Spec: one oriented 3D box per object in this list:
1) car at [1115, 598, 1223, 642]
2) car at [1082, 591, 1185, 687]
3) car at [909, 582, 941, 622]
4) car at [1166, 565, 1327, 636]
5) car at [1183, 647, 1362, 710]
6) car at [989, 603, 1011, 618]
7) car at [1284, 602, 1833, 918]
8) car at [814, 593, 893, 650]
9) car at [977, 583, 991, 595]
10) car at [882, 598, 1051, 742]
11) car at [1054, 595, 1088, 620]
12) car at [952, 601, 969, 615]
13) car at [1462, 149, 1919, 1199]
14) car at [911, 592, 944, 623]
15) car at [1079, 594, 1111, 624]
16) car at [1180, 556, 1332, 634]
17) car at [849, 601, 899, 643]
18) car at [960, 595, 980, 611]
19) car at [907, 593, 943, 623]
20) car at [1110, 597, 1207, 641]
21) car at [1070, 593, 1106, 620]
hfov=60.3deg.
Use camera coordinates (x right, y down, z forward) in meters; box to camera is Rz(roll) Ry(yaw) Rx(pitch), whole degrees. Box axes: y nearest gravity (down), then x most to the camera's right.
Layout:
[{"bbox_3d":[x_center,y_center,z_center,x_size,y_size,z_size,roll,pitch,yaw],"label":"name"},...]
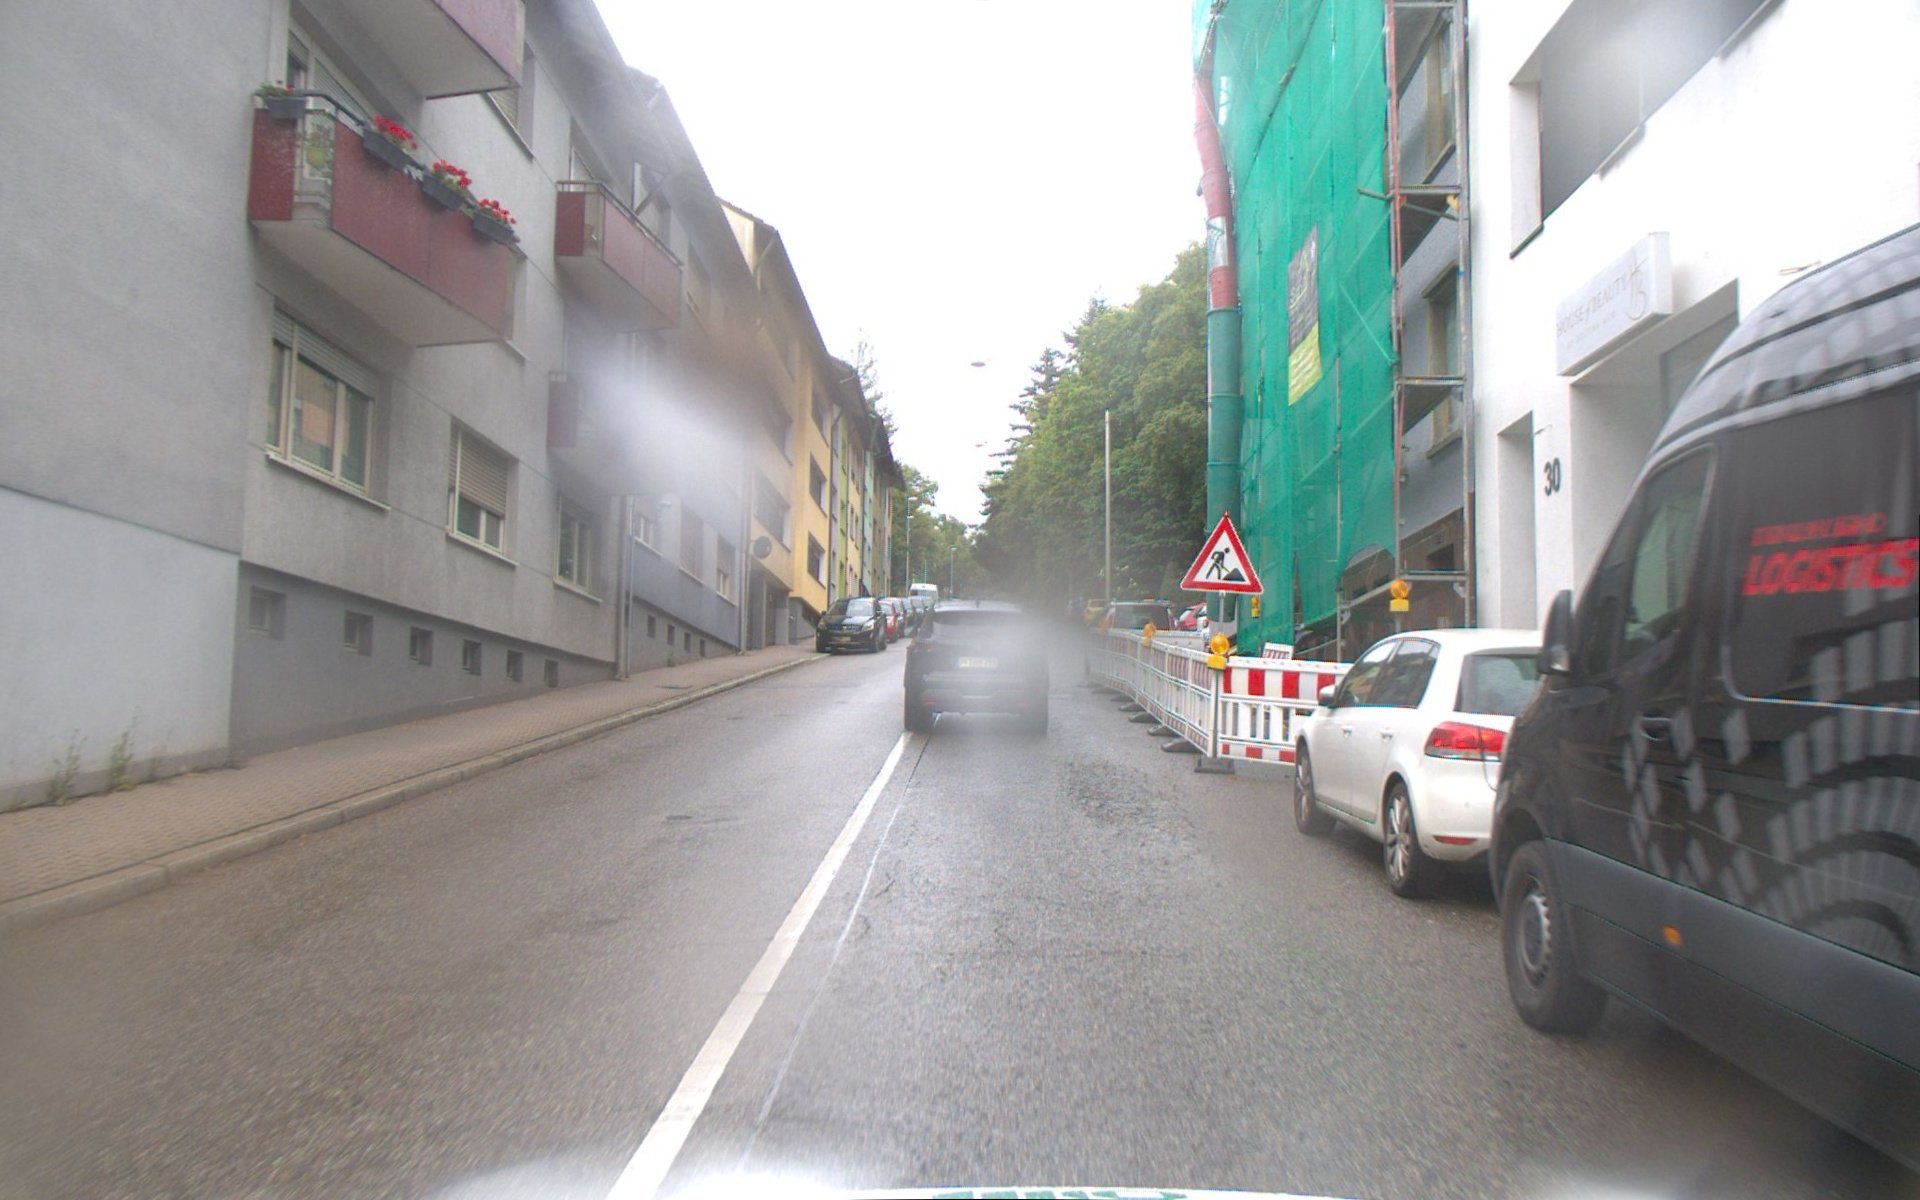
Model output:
[{"bbox_3d":[8.605,0.815,68.291,4.113,1.522,1.759,3,0,-2],"label":"car"},{"bbox_3d":[3.531,0.751,34.235,1.606,1.793,4.000,2,1,-1],"label":"car"},{"bbox_3d":[-2.234,0.094,107.192,1.950,2.518,5.784,0,0,0],"label":"car"},{"bbox_3d":[8.357,0.003,48.515,4.255,1.556,1.876,-7,0,-1],"label":"car"},{"bbox_3d":[7.919,1.981,42.150,4.181,1.492,1.893,0,0,-1],"label":"car"},{"bbox_3d":[4.216,1.116,175.567,2.033,1.587,3.998,1,0,-2],"label":"car"},{"bbox_3d":[3.476,0.830,10.590,1.952,1.538,4.337,2,0,1],"label":"car"},{"bbox_3d":[-3.295,0.633,51.841,1.952,1.679,4.443,0,0,3],"label":"car"},{"bbox_3d":[3.666,-1.650,251.480,1.952,1.587,4.001,0,-2,3],"label":"car"},{"bbox_3d":[0.102,0.830,21.652,1.952,1.586,4.001,2,1,1],"label":"car"},{"bbox_3d":[7.306,0.475,108.834,1.774,1.557,4.415,-1,0,-2],"label":"car"},{"bbox_3d":[0.042,0.986,197.109,2.032,1.587,4.000,1,0,0],"label":"car"},{"bbox_3d":[3.152,0.240,4.281,1.952,2.456,5.836,2,-2,1],"label":"car"},{"bbox_3d":[-1.928,0.425,99.268,1.950,1.786,4.479,0,0,0],"label":"car"},{"bbox_3d":[7.425,0.479,91.161,1.599,1.556,4.002,2,0,3],"label":"car"},{"bbox_3d":[8.134,-0.139,45.687,3.750,1.731,1.728,-6,0,-1],"label":"car"},{"bbox_3d":[-3.206,0.788,62.220,1.693,1.498,3.491,0,0,0],"label":"car"},{"bbox_3d":[1.026,0.332,169.911,2.032,1.587,3.999,1,0,-1],"label":"car"},{"bbox_3d":[-1.959,0.414,92.924,1.950,1.613,4.305,0,0,0],"label":"car"},{"bbox_3d":[9.129,0.852,76.155,4.115,1.765,1.759,3,0,-3],"label":"car"},{"bbox_3d":[7.569,0.385,98.413,1.774,1.557,4.417,-2,0,0],"label":"car"}]
